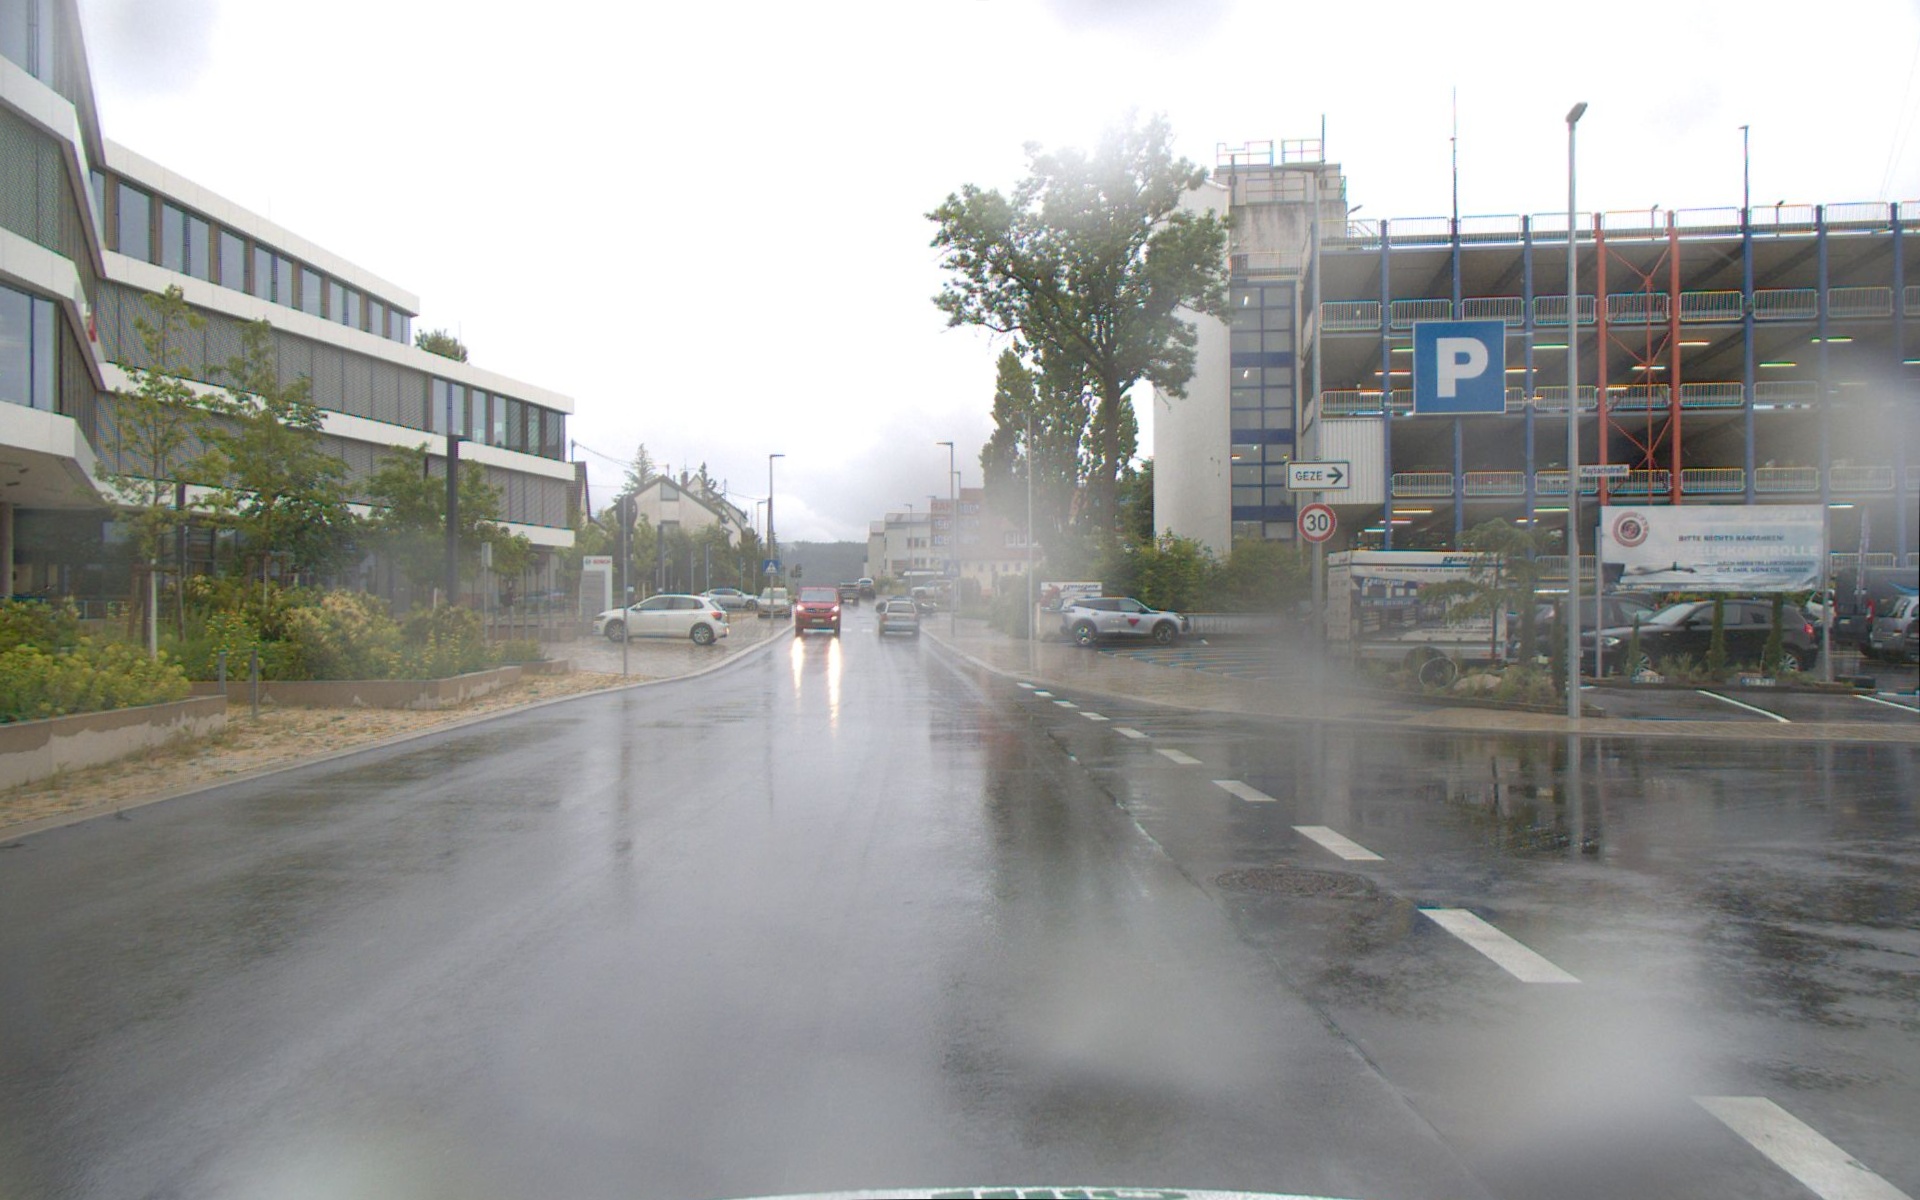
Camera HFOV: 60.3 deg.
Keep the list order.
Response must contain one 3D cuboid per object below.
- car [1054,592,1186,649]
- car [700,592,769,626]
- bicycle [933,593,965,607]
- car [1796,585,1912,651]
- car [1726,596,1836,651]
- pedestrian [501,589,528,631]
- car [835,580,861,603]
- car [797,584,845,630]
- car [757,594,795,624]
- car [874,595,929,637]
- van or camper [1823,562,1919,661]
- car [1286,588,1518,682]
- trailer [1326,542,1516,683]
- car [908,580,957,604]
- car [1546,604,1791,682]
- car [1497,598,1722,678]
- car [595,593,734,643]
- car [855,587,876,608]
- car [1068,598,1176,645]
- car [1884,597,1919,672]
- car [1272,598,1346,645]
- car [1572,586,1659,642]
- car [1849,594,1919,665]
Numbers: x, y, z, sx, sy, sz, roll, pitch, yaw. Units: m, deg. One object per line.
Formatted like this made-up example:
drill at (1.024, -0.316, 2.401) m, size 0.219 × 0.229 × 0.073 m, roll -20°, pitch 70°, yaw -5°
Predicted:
car at (5.175, 0.656, 53.371) m, size 4.118 × 1.678 × 2.001 m, roll -2°, pitch 0°, yaw 6°
car at (-15.841, 0.640, 116.528) m, size 4.664 × 2.049 × 1.996 m, roll 4°, pitch -2°, yaw -7°
bicycle at (-0.929, 0.014, 138.190) m, size 0.663 × 1.085 × 3.584 m, roll 5°, pitch -2°, yaw -35°
car at (28.113, 0.601, 52.144) m, size 1.852 × 1.845 × 4.002 m, roll 3°, pitch -2°, yaw 7°
car at (25.811, 0.785, 52.134) m, size 1.852 × 1.512 × 4.002 m, roll 3°, pitch -2°, yaw 7°
pedestrian at (-18.865, 0.405, 70.044) m, size 0.994 × 1.754 × 0.771 m, roll 1°, pitch 0°, yaw -7°
car at (-9.721, -0.728, 143.484) m, size 2.112 × 1.736 × 3.996 m, roll 4°, pitch -2°, yaw -4°
car at (-5.880, 0.290, 70.011) m, size 1.964 × 1.849 × 4.974 m, roll 0°, pitch 0°, yaw -5°
car at (-10.473, 0.488, 94.176) m, size 1.954 × 1.657 × 4.150 m, roll 0°, pitch 0°, yaw -4°
car at (-2.500, 0.714, 69.743) m, size 1.911 × 1.583 × 3.994 m, roll 4°, pitch -2°, yaw -6°
van or camper at (24.424, 0.238, 40.992) m, size 4.850 × 2.367 × 2.223 m, roll -1°, pitch 0°, yaw 4°
car at (7.832, 0.617, 29.503) m, size 3.652 × 1.556 × 1.649 m, roll -1°, pitch -1°, yaw -4°
trailer at (7.463, 0.204, 26.923) m, size 2.647 × 2.209 × 1.547 m, roll 0°, pitch 0°, yaw -2°
car at (-2.437, -0.702, 144.712) m, size 4.035 × 1.736 × 1.785 m, roll 4°, pitch -2°, yaw -7°
car at (12.545, 0.740, 29.392) m, size 3.655 × 1.338 × 1.690 m, roll 0°, pitch 0°, yaw -7°
car at (12.398, 0.699, 31.683) m, size 3.655 × 1.474 × 1.728 m, roll 0°, pitch 0°, yaw -7°
car at (-8.793, 0.525, 49.428) m, size 3.849 × 1.448 × 1.897 m, roll 0°, pitch 0°, yaw -3°
car at (-9.162, -0.235, 160.051) m, size 1.954 × 1.736 × 3.996 m, roll 4°, pitch -2°, yaw -4°
car at (5.484, 0.705, 56.022) m, size 3.544 × 1.521 × 1.807 m, roll -1°, pitch 0°, yaw 5°
car at (23.100, 0.718, 36.570) m, size 4.263 × 1.611 × 1.866 m, roll -1°, pitch 0°, yaw 5°
car at (11.462, 0.674, 54.549) m, size 1.892 × 1.467 × 4.209 m, roll 0°, pitch 0°, yaw 5°
car at (20.996, 0.414, 53.137) m, size 1.693 × 1.708 × 4.003 m, roll -1°, pitch 0°, yaw 8°
car at (23.484, 0.654, 38.736) m, size 4.263 × 1.611 × 1.866 m, roll -1°, pitch 0°, yaw 5°
